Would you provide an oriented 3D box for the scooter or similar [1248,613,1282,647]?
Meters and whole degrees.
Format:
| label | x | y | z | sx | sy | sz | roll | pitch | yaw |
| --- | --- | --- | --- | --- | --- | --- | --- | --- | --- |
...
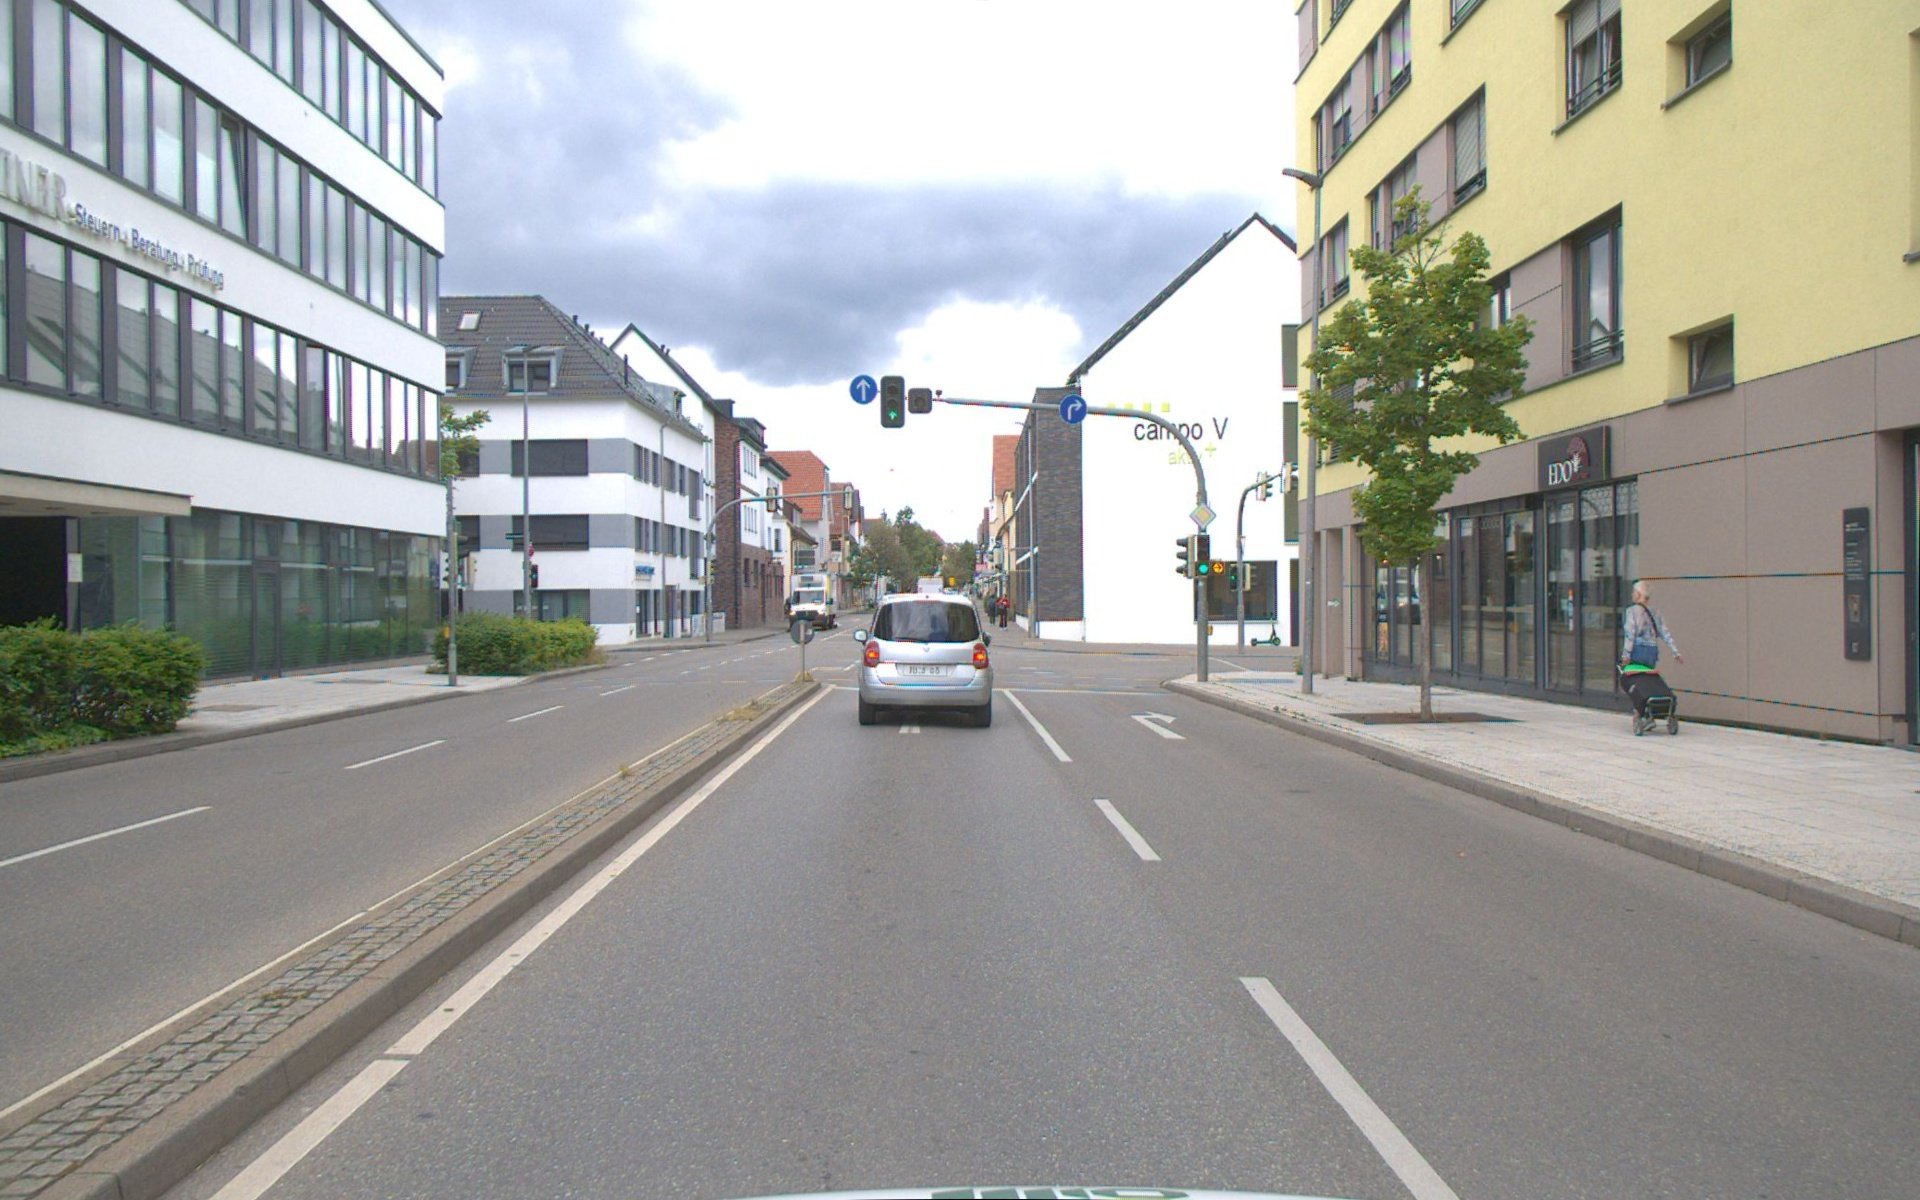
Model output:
| label | x | y | z | sx | sy | sz | roll | pitch | yaw |
| --- | --- | --- | --- | --- | --- | --- | --- | --- | --- |
| scooter or similar | 11.647 | 1.128 | 63.101 | 1.205 | 1.257 | 0.406 | 1 | 0 | 0 |

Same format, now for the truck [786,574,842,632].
| label | x | y | z | sx | sy | sz | roll | pitch | yaw |
| --- | --- | --- | --- | --- | --- | --- | --- | --- | --- |
| truck | -7.862 | 0.159 | 89.942 | 2.385 | 3.005 | 8.362 | -1 | 0 | -1 |

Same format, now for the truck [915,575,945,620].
| label | x | y | z | sx | sy | sz | roll | pitch | yaw |
| --- | --- | --- | --- | --- | --- | --- | --- | --- | --- |
| truck | -2.660 | -0.243 | 146.473 | 2.542 | 3.925 | 6.848 | 0 | 0 | 0 |

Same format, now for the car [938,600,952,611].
| label | x | y | z | sx | sy | sz | roll | pitch | yaw |
| --- | --- | --- | --- | --- | --- | --- | --- | --- | --- |
| car | -2.035 | 0.747 | 220.076 | 1.775 | 1.378 | 4.000 | -1 | 0 | 0 |

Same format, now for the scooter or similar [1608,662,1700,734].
| label | x | y | z | sx | sy | sz | roll | pitch | yaw |
| --- | --- | --- | --- | --- | --- | --- | --- | --- | --- |
| scooter or similar | 7.250 | 1.012 | 17.299 | 0.580 | 0.684 | 0.824 | -2 | 0 | -2 |

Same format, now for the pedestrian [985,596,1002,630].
| label | x | y | z | sx | sy | sz | roll | pitch | yaw |
| --- | --- | --- | --- | --- | --- | --- | --- | --- | --- |
| pedestrian | 1.854 | 0.717 | 91.671 | 0.871 | 1.818 | 0.785 | -3 | 0 | 0 |

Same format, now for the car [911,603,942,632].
| label | x | y | z | sx | sy | sz | roll | pitch | yaw |
| --- | --- | --- | --- | --- | --- | --- | --- | --- | --- |
| car | -1.906 | 0.988 | 94.660 | 1.672 | 1.606 | 3.999 | 1 | 0 | -1 |

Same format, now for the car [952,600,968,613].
| label | x | y | z | sx | sy | sz | roll | pitch | yaw |
| --- | --- | --- | --- | --- | --- | --- | --- | --- | --- |
| car | 0.011 | 0.770 | 190.089 | 1.775 | 1.378 | 4.000 | -1 | 0 | 0 |

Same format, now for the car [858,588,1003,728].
| label | x | y | z | sx | sy | sz | roll | pitch | yaw |
| --- | --- | --- | --- | --- | --- | --- | --- | --- | --- |
| car | -0.378 | 0.677 | 21.375 | 1.672 | 1.606 | 3.999 | 1 | 0 | -1 |

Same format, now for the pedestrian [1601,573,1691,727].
| label | x | y | z | sx | sy | sz | roll | pitch | yaw |
| --- | --- | --- | --- | --- | --- | --- | --- | --- | --- |
| pedestrian | 7.476 | 0.537 | 18.050 | 0.681 | 1.621 | 0.603 | -2 | 0 | -2 |

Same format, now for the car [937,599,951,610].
| label | x | y | z | sx | sy | sz | roll | pitch | yaw |
| --- | --- | --- | --- | --- | --- | --- | --- | --- | --- |
| car | -2.074 | 0.543 | 220.072 | 1.775 | 1.378 | 4.000 | -1 | 0 | 0 |

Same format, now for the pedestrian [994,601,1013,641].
| label | x | y | z | sx | sy | sz | roll | pitch | yaw |
| --- | --- | --- | --- | --- | --- | --- | --- | --- | --- |
| pedestrian | 2.093 | 1.005 | 79.313 | 0.791 | 1.818 | 0.861 | -3 | 0 | 0 |
